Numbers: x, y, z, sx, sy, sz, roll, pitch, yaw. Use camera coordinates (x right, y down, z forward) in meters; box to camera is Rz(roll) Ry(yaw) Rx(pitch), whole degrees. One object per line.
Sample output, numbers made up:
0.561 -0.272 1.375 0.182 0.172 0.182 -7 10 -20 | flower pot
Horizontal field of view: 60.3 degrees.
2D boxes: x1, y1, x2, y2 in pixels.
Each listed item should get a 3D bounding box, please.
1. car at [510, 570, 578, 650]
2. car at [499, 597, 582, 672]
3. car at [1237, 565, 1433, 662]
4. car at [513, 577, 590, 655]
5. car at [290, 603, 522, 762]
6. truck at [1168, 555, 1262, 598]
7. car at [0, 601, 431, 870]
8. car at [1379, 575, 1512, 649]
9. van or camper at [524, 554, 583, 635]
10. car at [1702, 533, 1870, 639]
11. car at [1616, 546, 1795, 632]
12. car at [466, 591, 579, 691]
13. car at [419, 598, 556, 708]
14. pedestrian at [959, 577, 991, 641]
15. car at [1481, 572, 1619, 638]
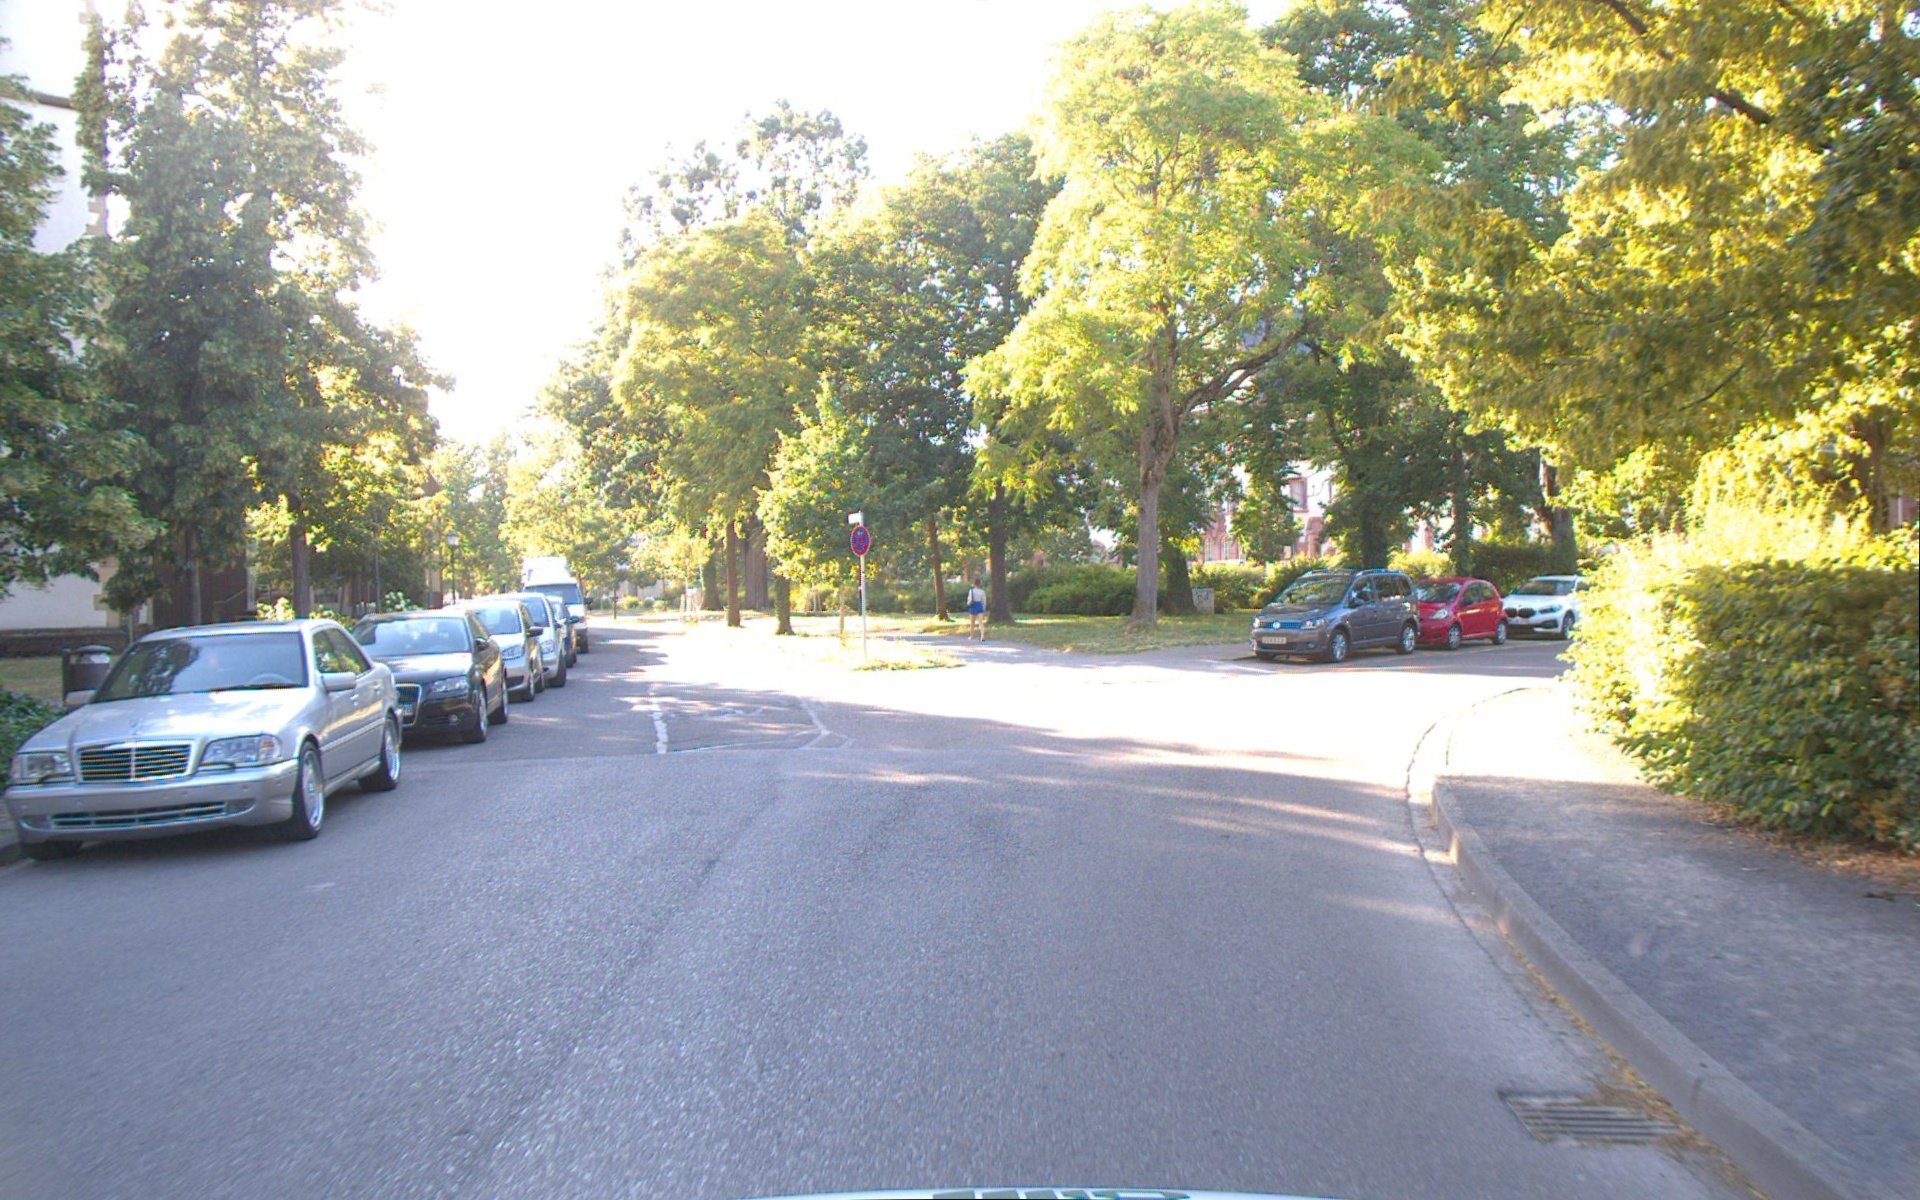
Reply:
-13.447 0.282 53.301 1.822 2.397 5.161 -1 1 -17 | car
-9.315 0.723 36.890 1.587 1.527 3.686 -1 1 -12 | car
7.305 0.202 31.961 1.777 1.705 4.292 2 2 43 | car
-11.165 0.405 45.481 1.818 1.980 4.827 -1 1 -12 | car
-6.178 0.834 18.932 1.792 1.440 4.484 -4 1 -10 | car
19.318 -1.755 126.011 2.578 3.082 7.923 -1 1 -31 | truck
-5.240 0.803 12.066 1.746 1.440 4.491 -4 1 -7 | car
10.455 0.219 35.490 1.368 1.448 3.404 2 2 43 | car
-15.711 -0.229 63.923 2.055 2.958 6.308 -1 1 -14 | van or camper
17.352 -0.323 34.599 1.923 2.049 5.125 -1 1 41 | car
14.063 -0.232 31.049 1.739 1.493 4.838 -1 1 41 | car
-7.648 0.663 29.186 1.674 1.606 3.686 -1 1 -12 | car
-7.153 0.748 25.313 1.583 1.465 3.597 -3 1 -10 | car
0.385 0.220 42.730 0.758 1.602 0.767 -2 0 -2 | pedestrian
14.057 0.075 39.303 1.667 1.430 3.949 2 2 43 | car
